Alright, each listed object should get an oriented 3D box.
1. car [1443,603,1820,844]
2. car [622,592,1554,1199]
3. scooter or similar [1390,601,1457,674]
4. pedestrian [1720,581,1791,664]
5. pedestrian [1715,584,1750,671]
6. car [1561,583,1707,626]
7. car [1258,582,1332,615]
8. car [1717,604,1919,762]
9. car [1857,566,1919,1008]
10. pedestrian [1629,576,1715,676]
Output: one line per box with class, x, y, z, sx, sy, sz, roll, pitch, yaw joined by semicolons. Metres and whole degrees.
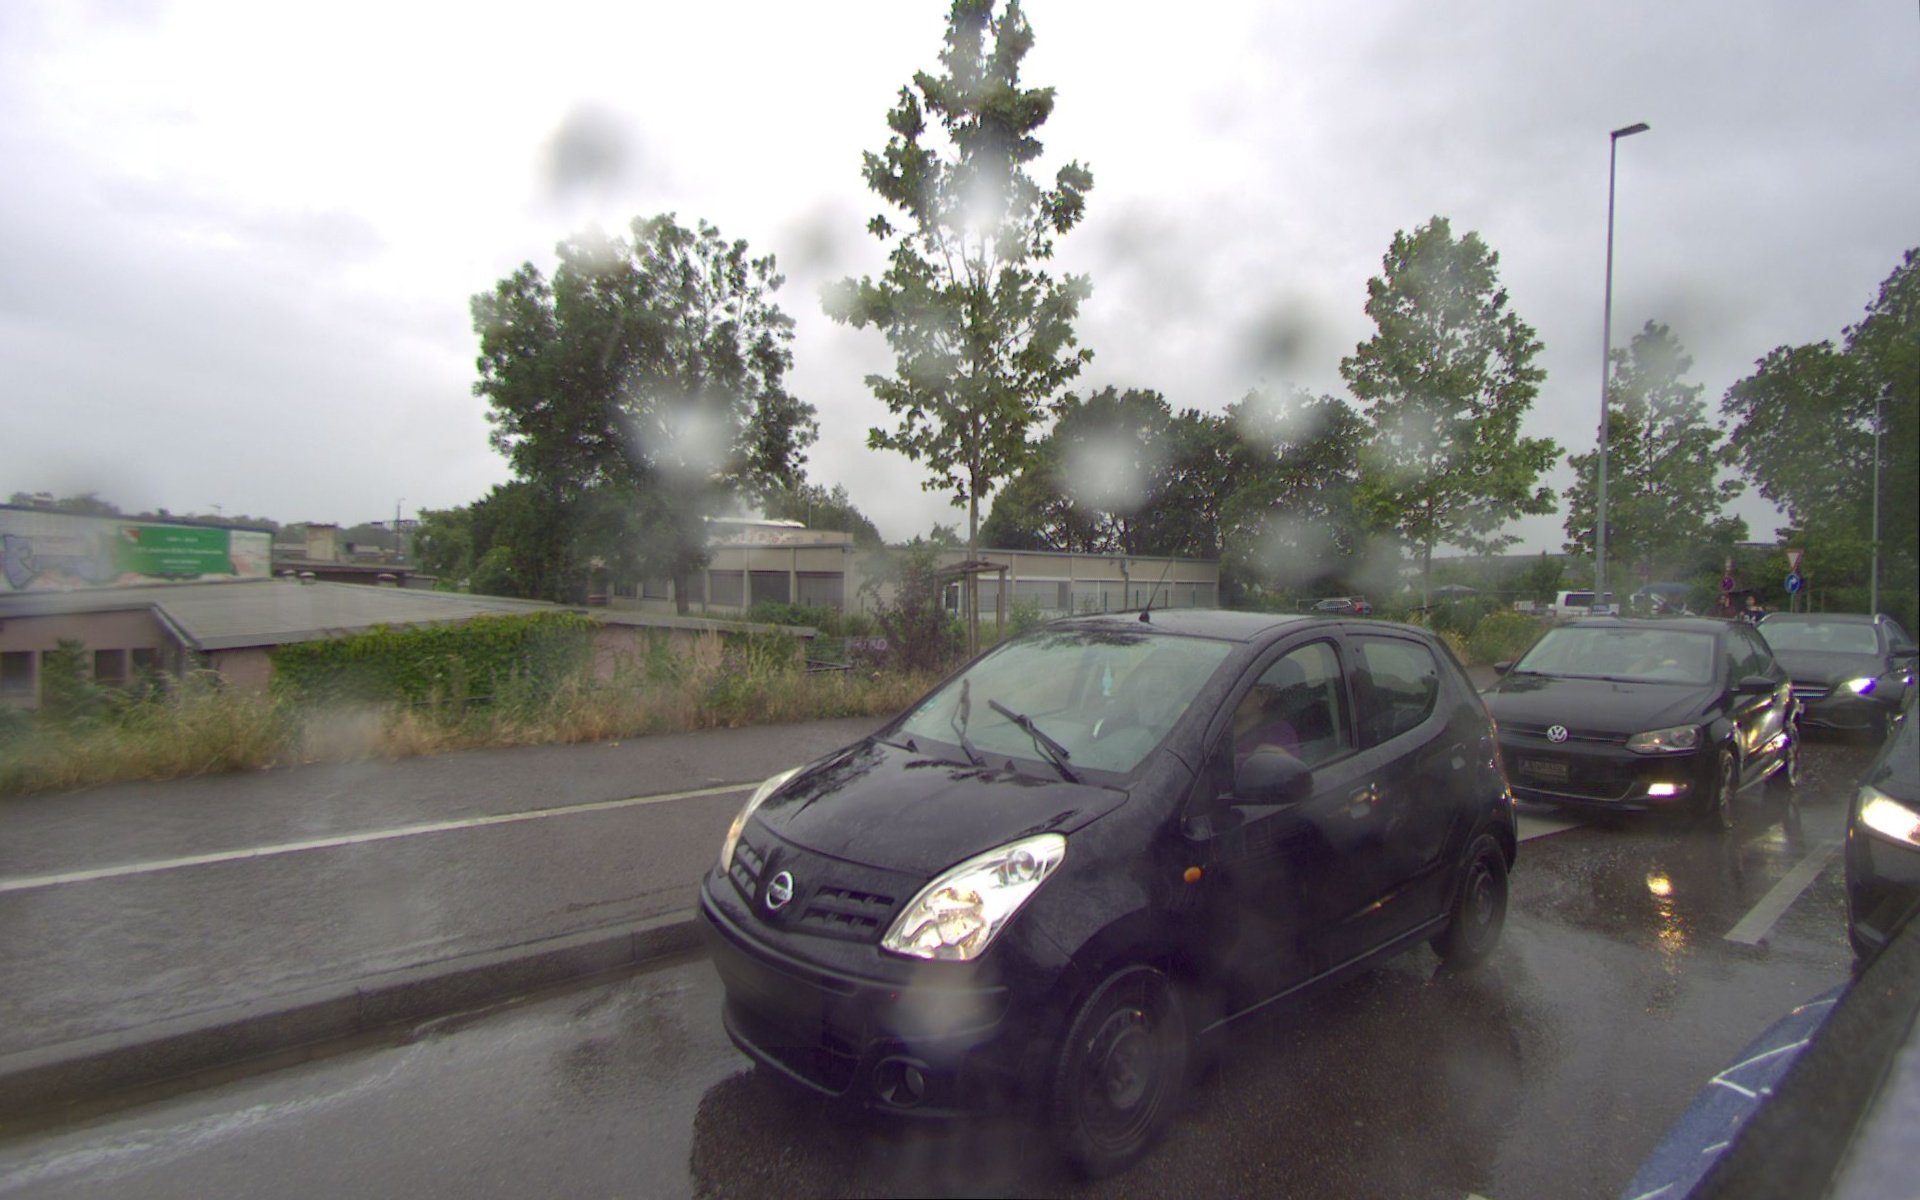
car;5.365;0.759;7.927;3.561;1.447;1.631;0;0;-42
car;0.760;0.714;3.883;3.561;1.447;1.631;0;0;-42
scooter or similar;7.907;0.614;17.248;1.747;1.144;0.380;-1;2;-43
pedestrian;17.569;0.471;22.355;0.876;1.729;1.024;0;3;-41
pedestrian;15.289;0.525;20.031;0.433;1.682;0.400;0;3;-42
car;28.165;0.157;42.410;1.966;1.670;4.752;-1;1;-42
car;21.005;-0.100;63.477;1.964;2.039;3.996;0;0;-38
car;10.876;0.877;12.500;3.747;1.594;1.697;-1;0;-41
car;5.464;0.662;4.500;4.091;1.607;1.688;-1;0;-41
pedestrian;13.341;0.461;18.963;0.953;1.777;1.081;0;3;-42
